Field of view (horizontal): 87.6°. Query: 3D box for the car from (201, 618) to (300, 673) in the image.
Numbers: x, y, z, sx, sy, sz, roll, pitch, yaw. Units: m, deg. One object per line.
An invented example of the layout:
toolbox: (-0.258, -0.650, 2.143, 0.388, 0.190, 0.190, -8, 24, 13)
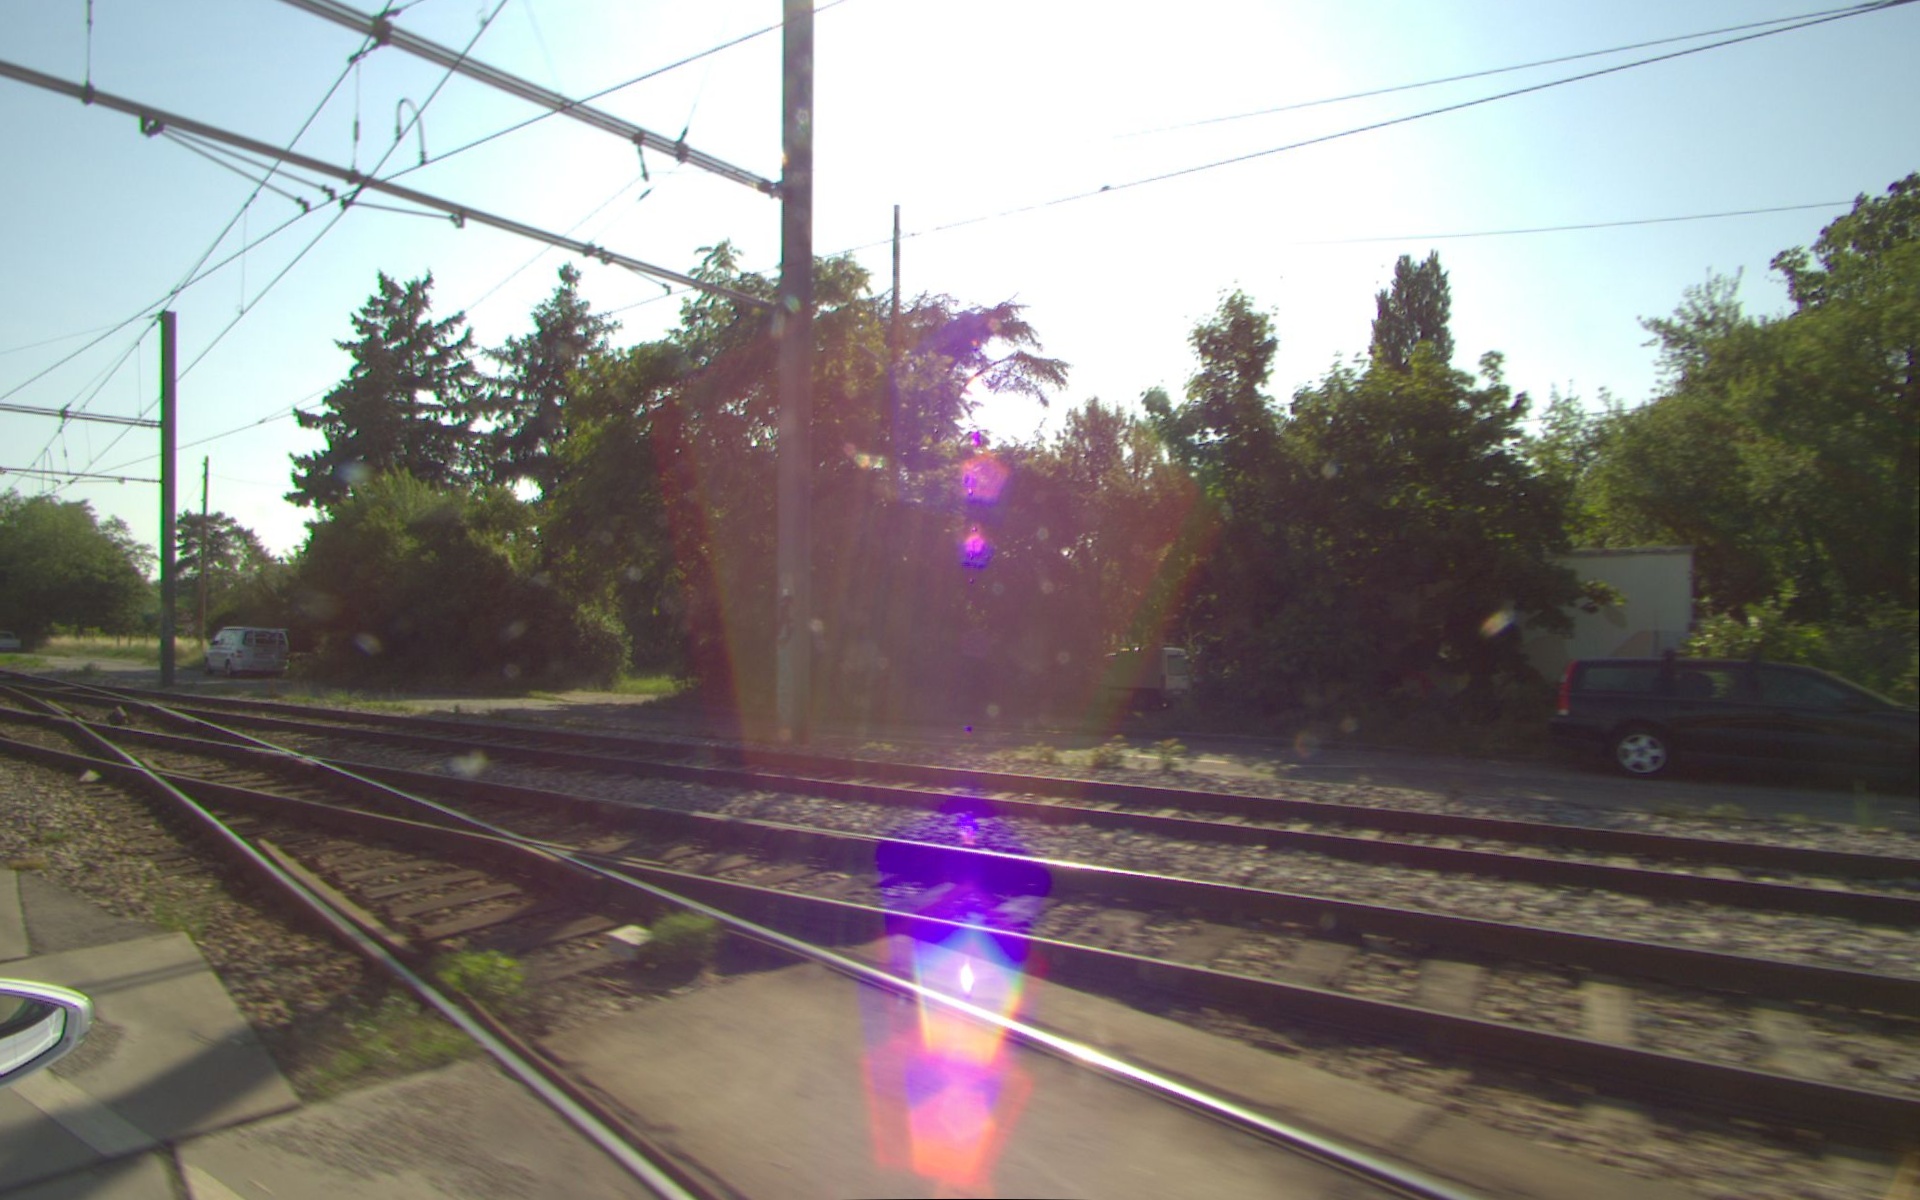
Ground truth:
car: (-28.919, 1.842, 40.756, 5.008, 2.028, 1.987, -1, -5, 40)

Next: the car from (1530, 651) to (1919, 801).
car: (9.539, 1.431, 11.781, 4.813, 1.474, 1.696, 0, -5, 34)

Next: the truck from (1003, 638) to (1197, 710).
truck: (4.070, 2.108, 29.502, 5.333, 1.878, 1.990, -1, -3, 34)

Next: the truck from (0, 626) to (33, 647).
truck: (-85.139, 3.258, 89.833, 5.861, 1.842, 2.195, -2, -3, 41)

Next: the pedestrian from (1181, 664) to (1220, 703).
pedestrian: (7.401, 2.564, 30.820, 0.982, 1.202, 0.759, -2, -4, 29)
